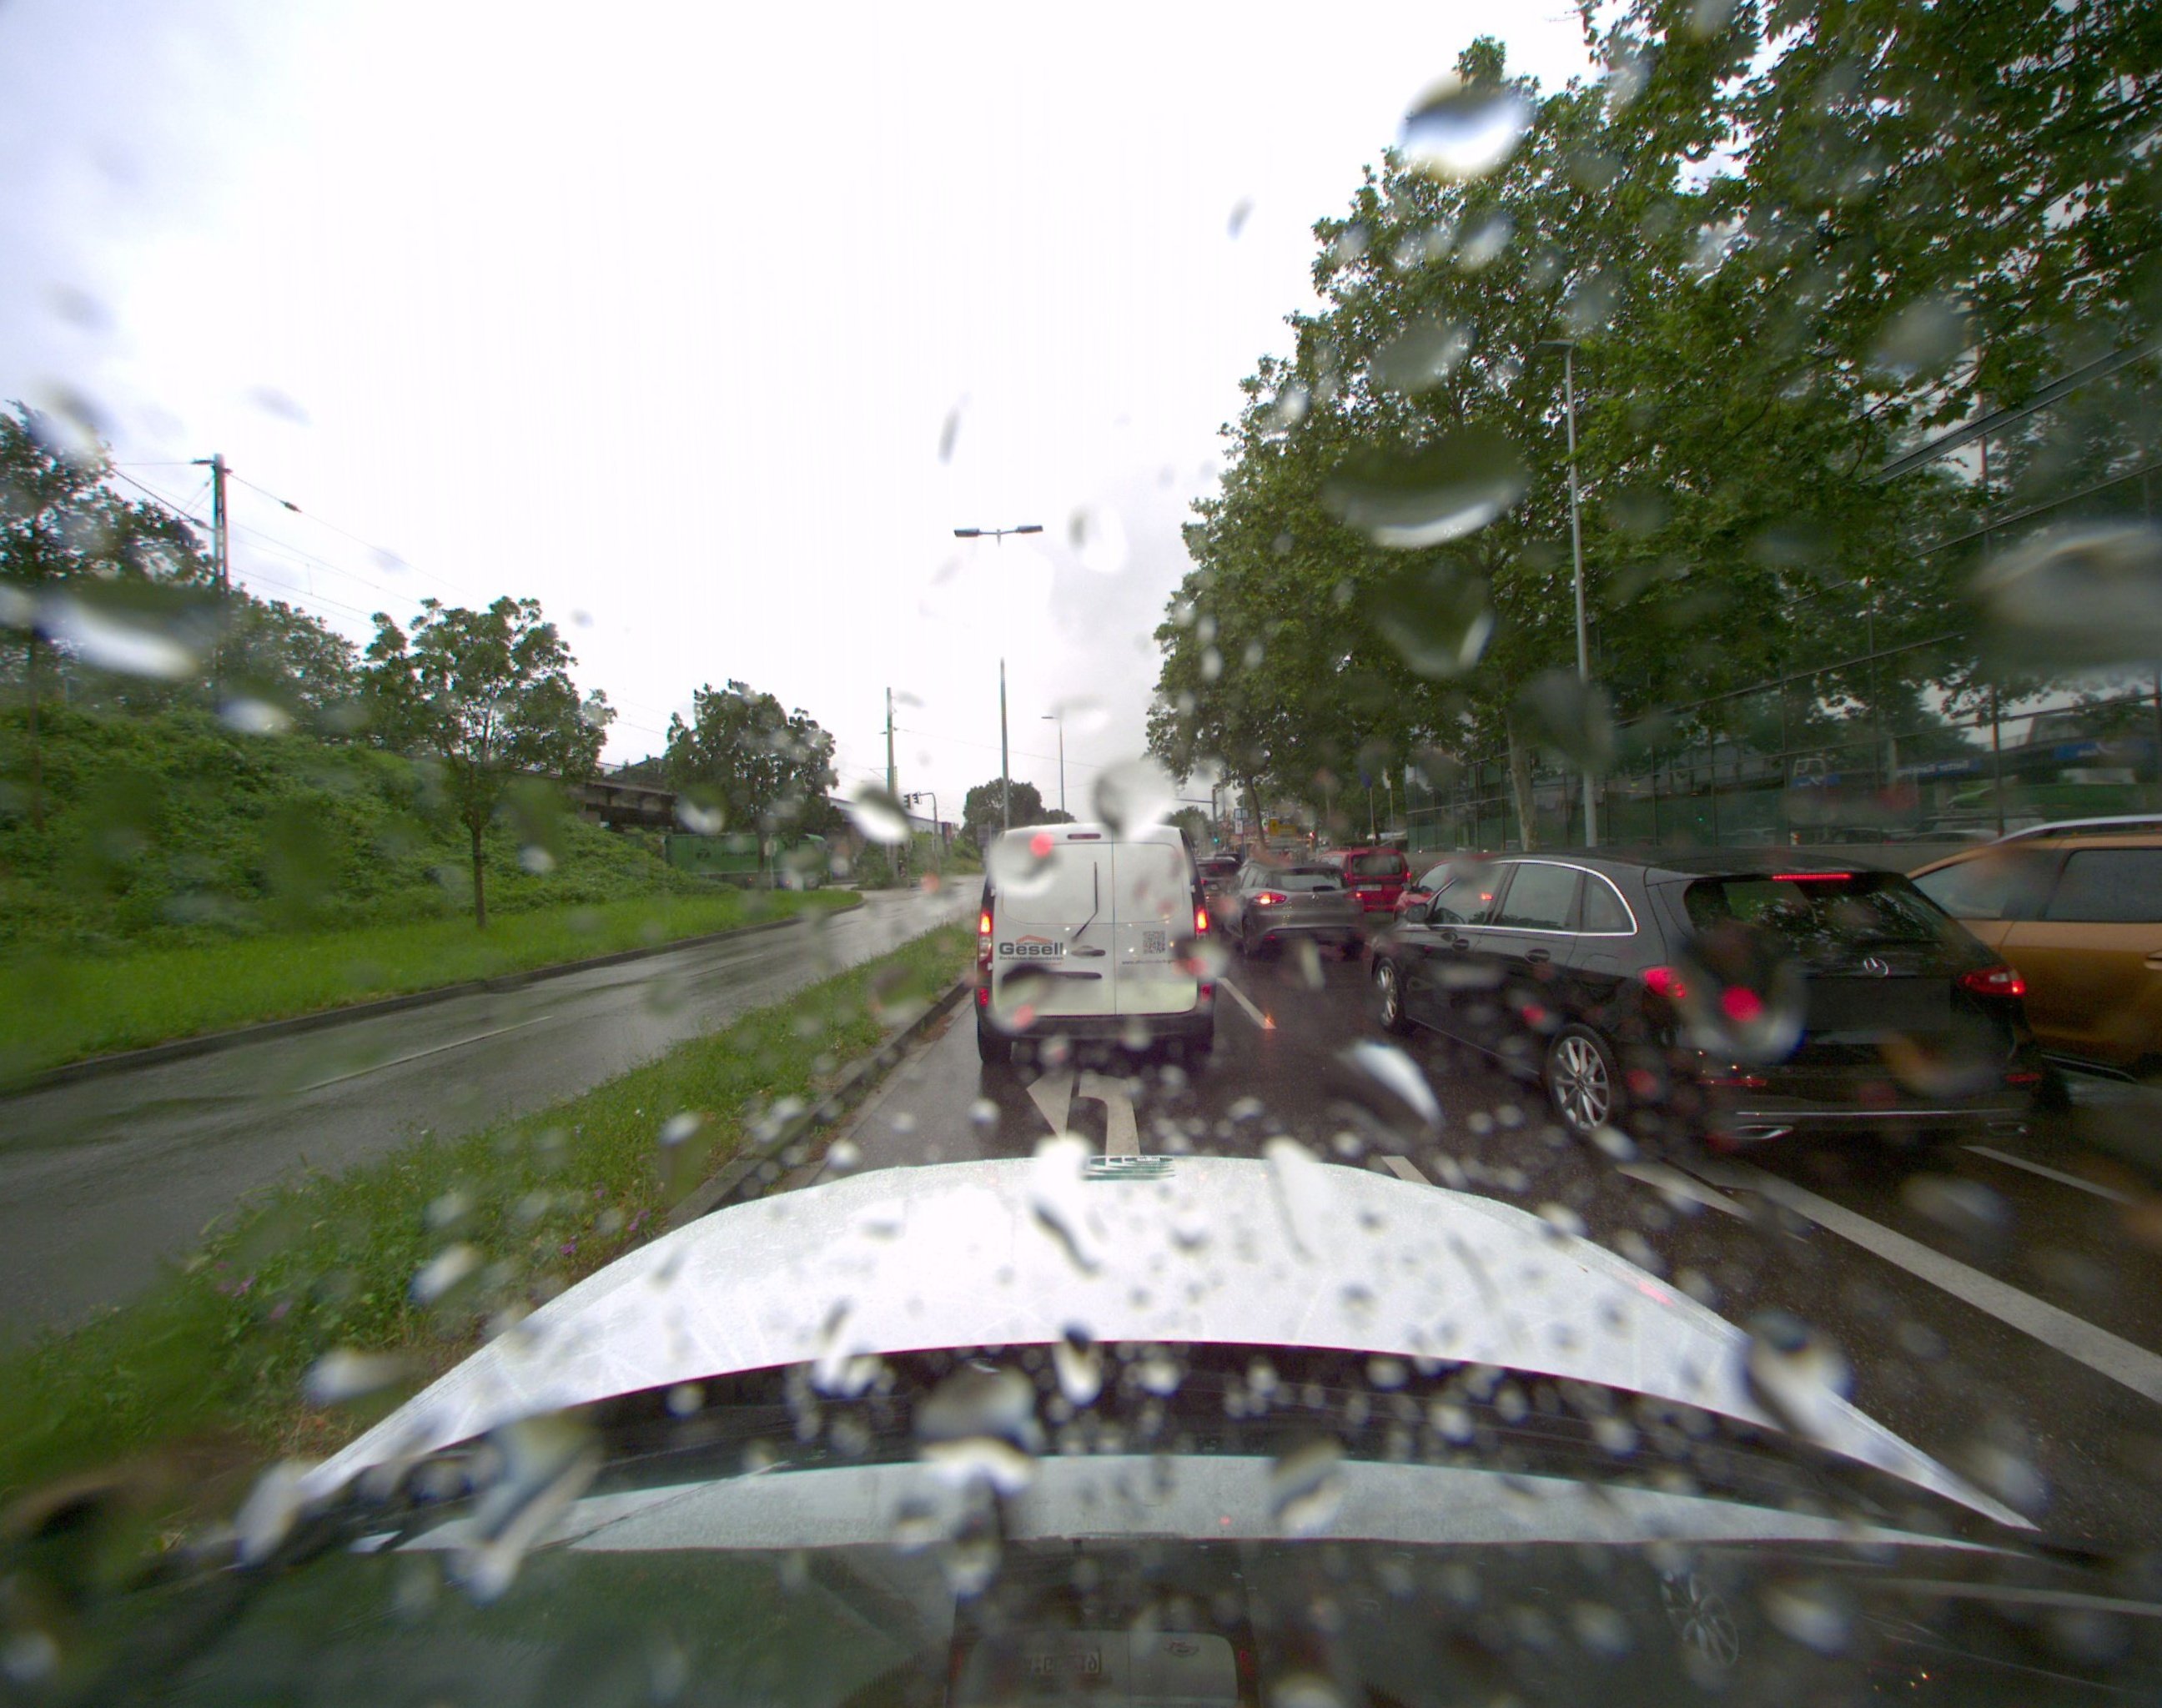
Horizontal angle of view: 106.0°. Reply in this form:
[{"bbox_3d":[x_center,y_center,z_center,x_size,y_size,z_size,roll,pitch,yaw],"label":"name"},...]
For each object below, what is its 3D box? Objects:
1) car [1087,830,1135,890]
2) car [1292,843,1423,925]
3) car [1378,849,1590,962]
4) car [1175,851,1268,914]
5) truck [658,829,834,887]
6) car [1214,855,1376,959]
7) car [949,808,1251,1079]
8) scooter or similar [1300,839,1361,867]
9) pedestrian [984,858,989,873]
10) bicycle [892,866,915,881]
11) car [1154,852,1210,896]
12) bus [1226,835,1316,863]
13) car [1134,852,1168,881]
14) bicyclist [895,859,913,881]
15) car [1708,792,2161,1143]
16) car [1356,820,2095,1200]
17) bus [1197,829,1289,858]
[{"bbox_3d":[1.251,0.233,34.173,1.847,2.296,3.844,-1,0,2],"label":"car"},{"bbox_3d":[6.292,0.653,19.043,1.704,1.694,4.273,0,-1,2],"label":"car"},{"bbox_3d":[5.902,0.673,12.374,1.563,1.462,3.390,-1,0,1],"label":"car"},{"bbox_3d":[3.568,0.665,21.321,1.847,1.460,3.844,-1,0,2],"label":"car"},{"bbox_3d":[-21.305,0.181,52.304,10.105,3.371,2.322,-2,0,-35],"label":"truck"},{"bbox_3d":[3.262,0.734,13.165,1.677,1.408,3.844,0,0,1],"label":"car"},{"bbox_3d":[0.198,0.593,7.768,1.986,1.776,4.587,-1,0,2],"label":"car"},{"bbox_3d":[23.453,-0.087,76.682,1.905,2.446,5.257,-1,0,-39],"label":"scooter or similar"},{"bbox_3d":[-11.237,1.364,96.556,0.541,1.716,0.563,0,-1,-2],"label":"pedestrian"},{"bbox_3d":[-12.201,1.336,55.985,1.045,0.952,2.866,-2,0,-22],"label":"bicycle"},{"bbox_3d":[4.015,0.760,32.970,1.847,1.649,3.844,-1,0,2],"label":"car"},{"bbox_3d":[26.725,-0.735,114.718,11.939,3.423,2.481,-2,0,-2],"label":"bus"},{"bbox_3d":[4.311,0.762,50.600,1.847,1.650,3.844,-1,-1,2],"label":"car"},{"bbox_3d":[-12.176,1.083,55.929,1.045,1.450,0.723,-2,0,-23],"label":"bicyclist"},{"bbox_3d":[6.054,0.541,4.770,1.668,1.685,4.149,0,1,2],"label":"car"},{"bbox_3d":[3.381,0.651,5.445,1.741,1.554,4.091,-1,0,1],"label":"car"},{"bbox_3d":[21.895,-1.362,110.587,11.926,3.423,2.316,-2,0,1],"label":"bus"}]
